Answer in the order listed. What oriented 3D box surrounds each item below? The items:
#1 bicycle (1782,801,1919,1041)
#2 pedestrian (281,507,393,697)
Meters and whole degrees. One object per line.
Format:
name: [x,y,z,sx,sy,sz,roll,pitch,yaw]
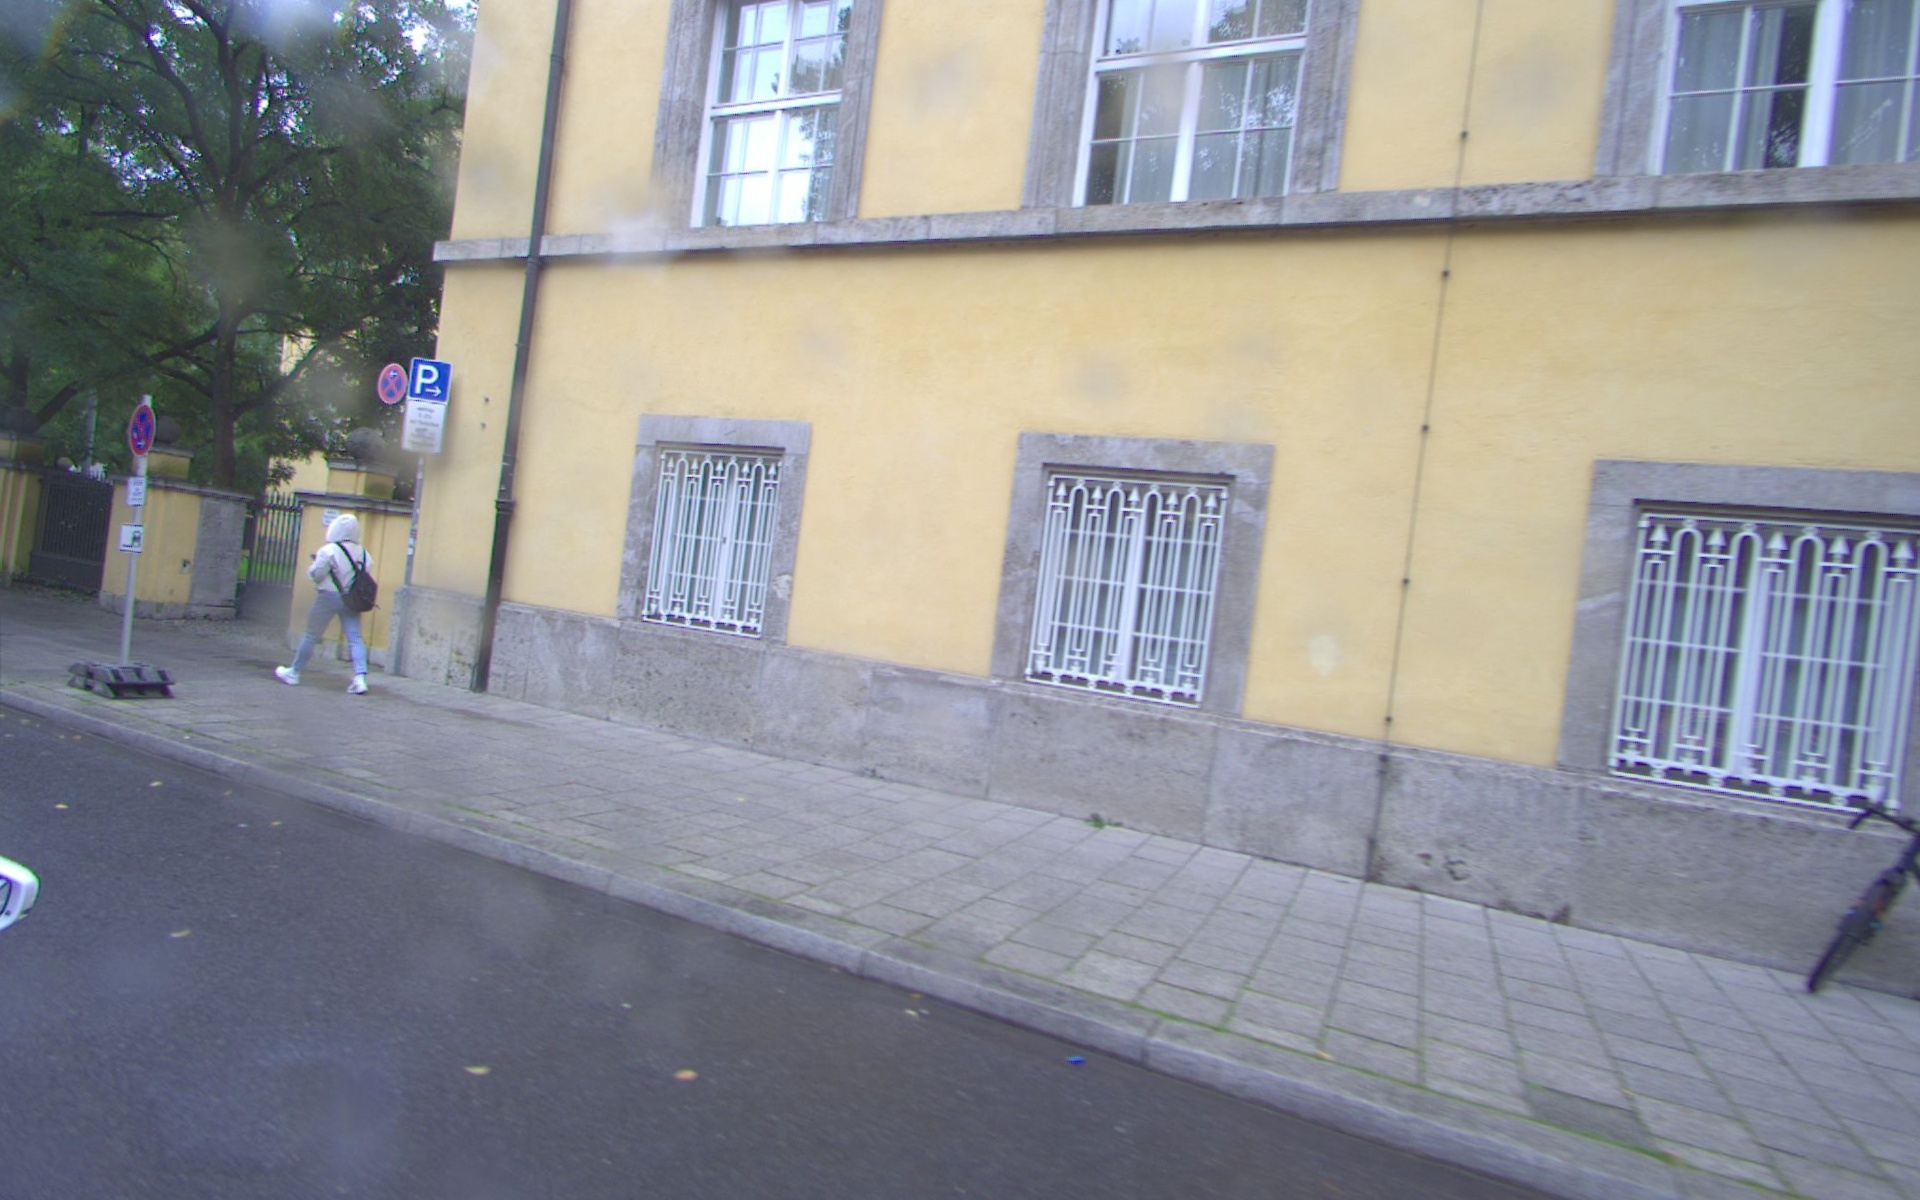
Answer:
bicycle: [5.398,1.697,4.859,2.020,1.018,0.682,6,0,25]
pedestrian: [-5.752,0.018,9.304,0.561,1.659,0.561,7,2,25]
